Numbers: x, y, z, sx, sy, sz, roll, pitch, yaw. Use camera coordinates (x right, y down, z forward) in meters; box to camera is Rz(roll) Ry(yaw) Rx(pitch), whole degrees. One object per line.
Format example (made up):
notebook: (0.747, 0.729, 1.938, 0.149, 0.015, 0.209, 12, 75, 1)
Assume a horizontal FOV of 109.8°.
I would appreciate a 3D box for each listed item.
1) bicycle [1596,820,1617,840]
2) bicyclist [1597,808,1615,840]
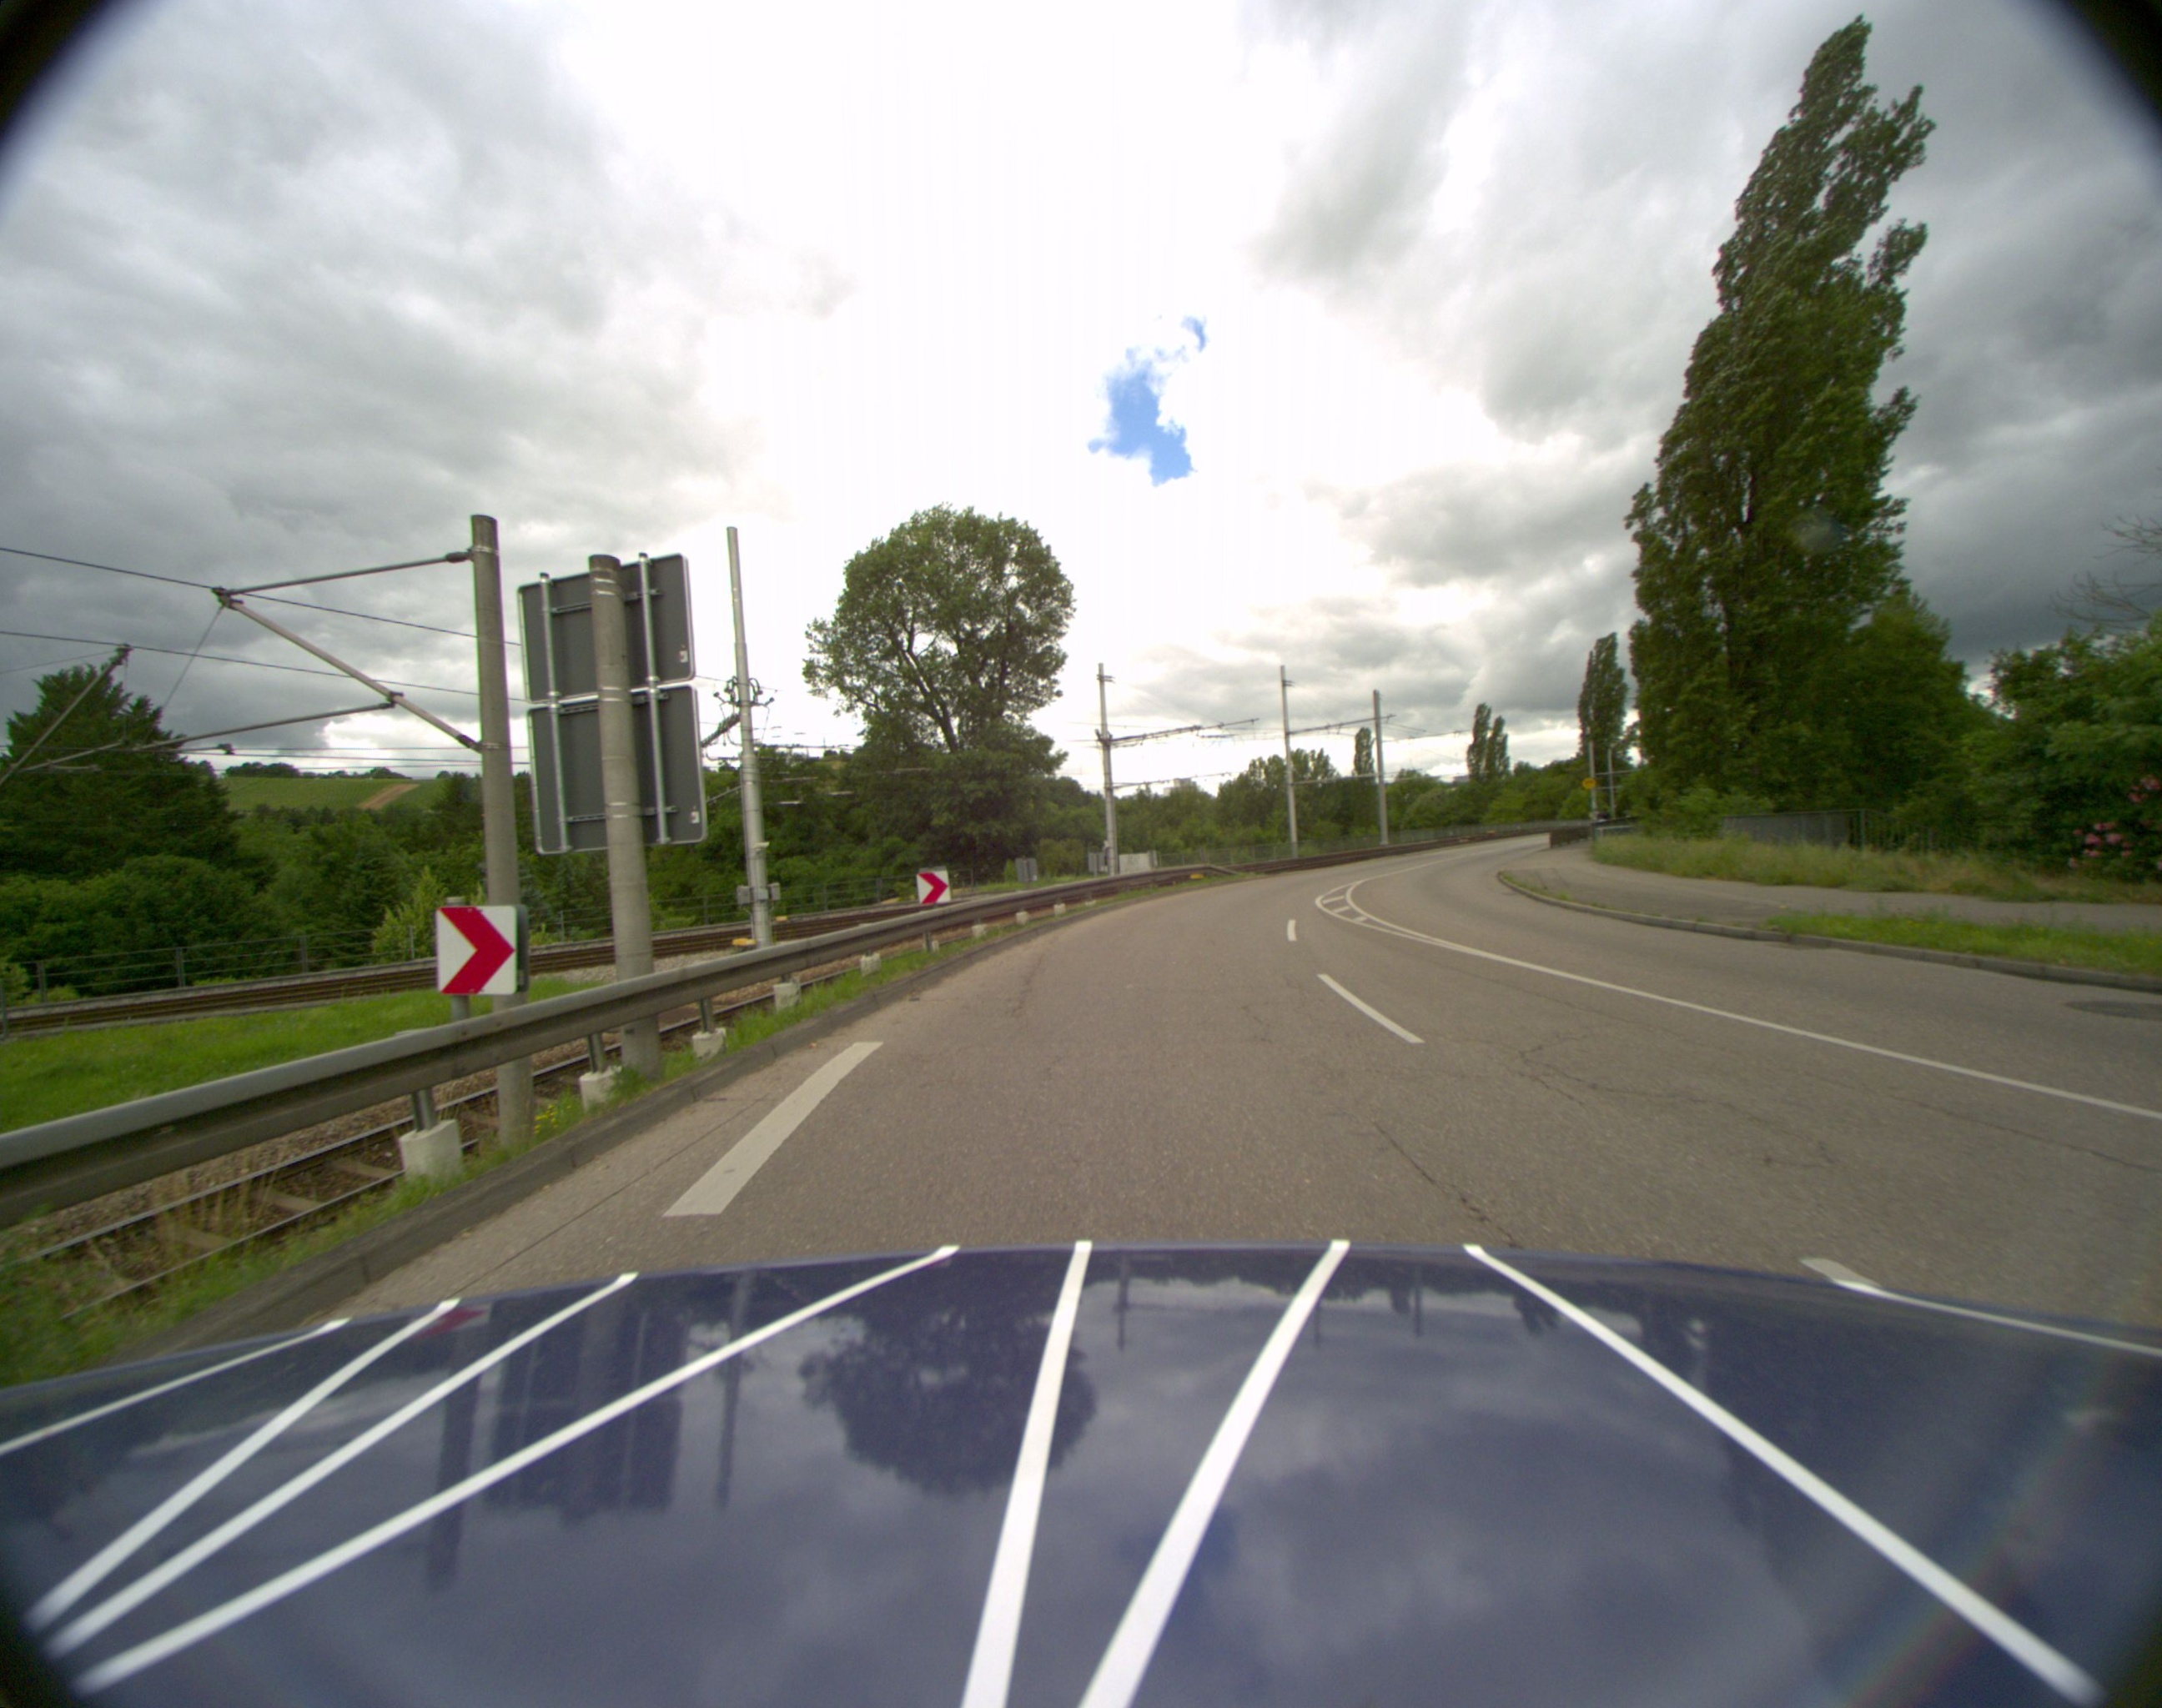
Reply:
bicycle: (30.887, -1.430, 44.639, 0.736, 1.065, 1.884, -4, 1, 41)
bicyclist: (30.872, -1.782, 44.674, 0.627, 1.798, 0.902, -4, 2, 41)
